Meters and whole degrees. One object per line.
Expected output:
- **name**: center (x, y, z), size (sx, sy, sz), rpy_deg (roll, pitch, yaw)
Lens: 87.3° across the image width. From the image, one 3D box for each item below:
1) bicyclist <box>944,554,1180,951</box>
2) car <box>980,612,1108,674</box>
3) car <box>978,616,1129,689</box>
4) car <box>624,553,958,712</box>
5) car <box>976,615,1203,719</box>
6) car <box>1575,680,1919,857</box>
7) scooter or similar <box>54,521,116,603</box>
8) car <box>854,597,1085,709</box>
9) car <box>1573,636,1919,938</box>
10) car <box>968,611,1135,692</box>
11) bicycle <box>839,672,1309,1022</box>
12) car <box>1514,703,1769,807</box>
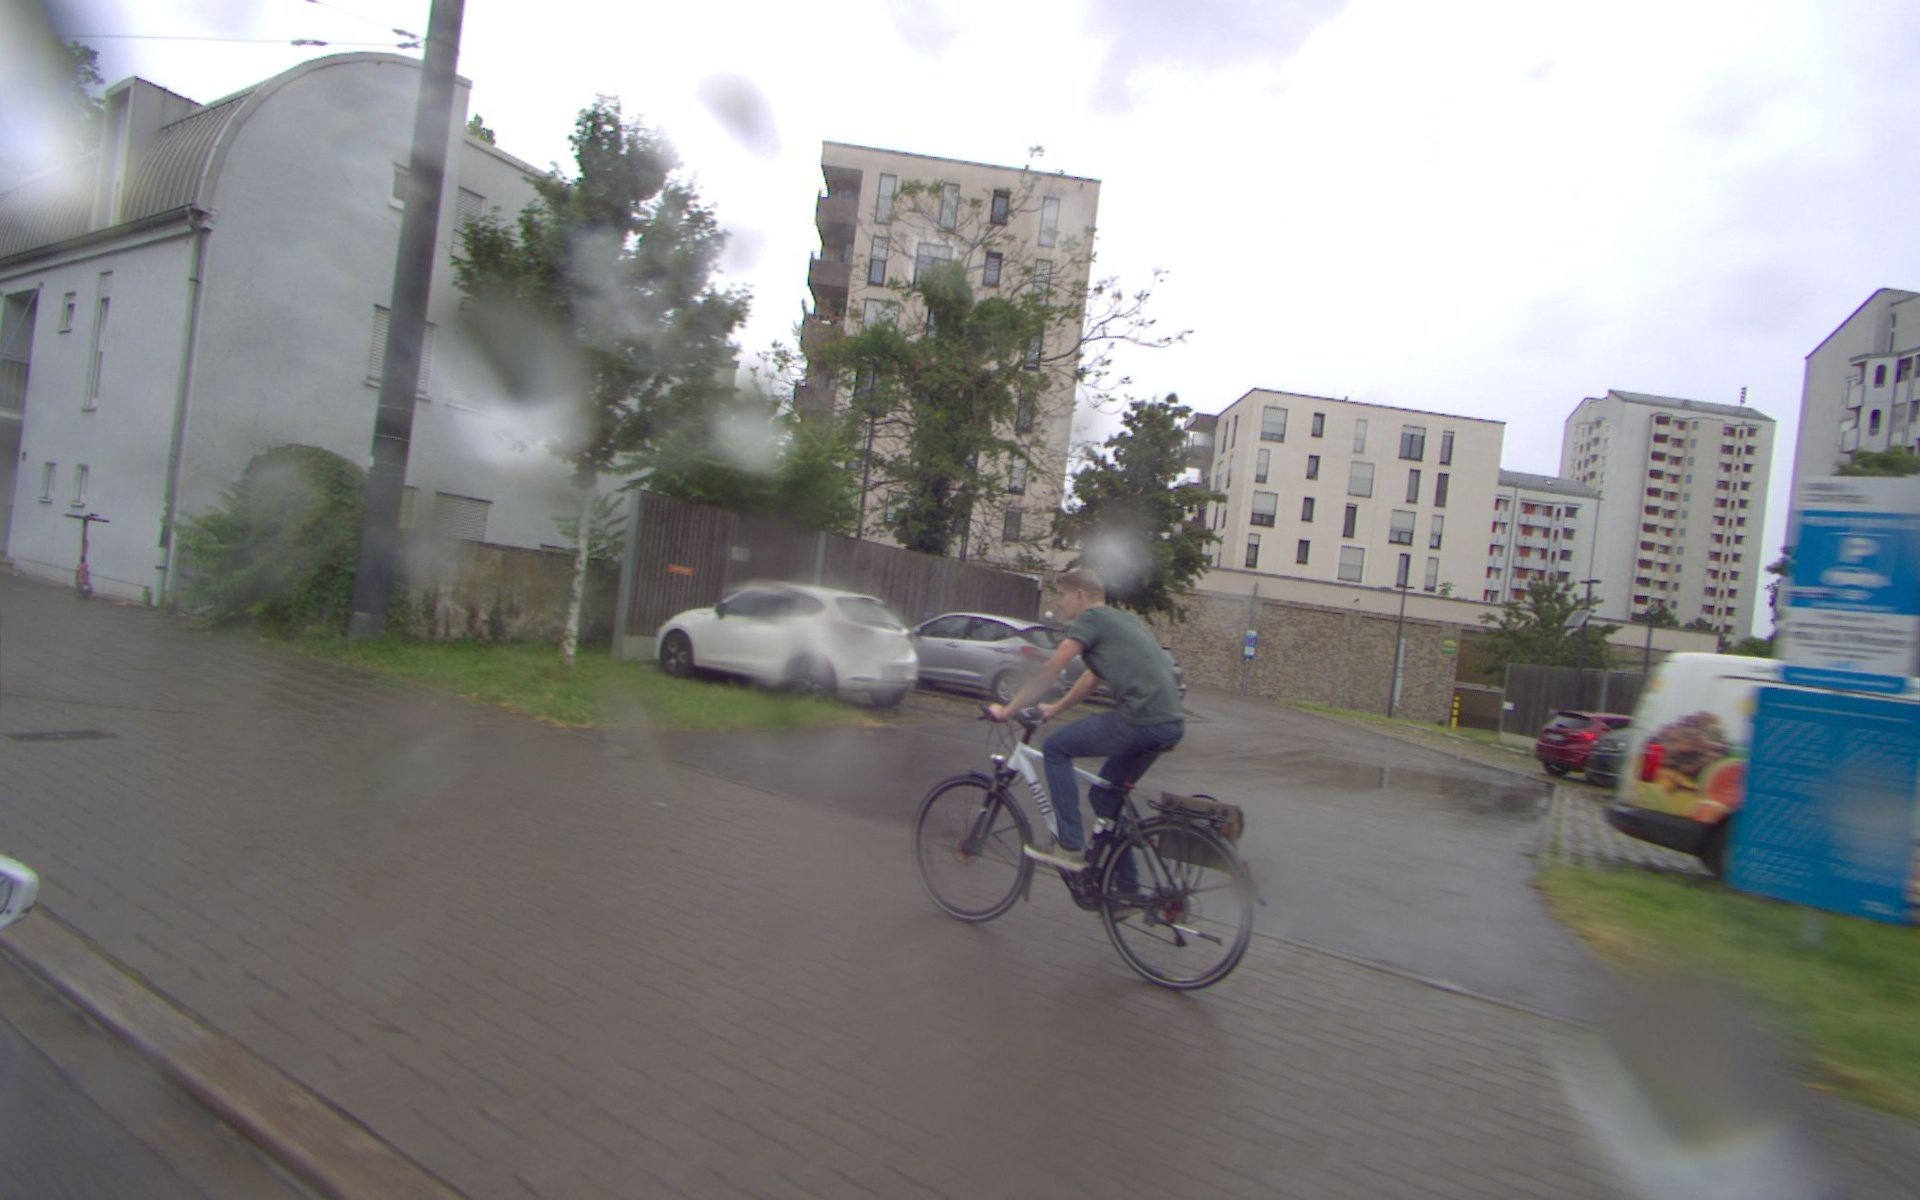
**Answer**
- **bicyclist**: center (0.472, 0.642, 4.535), size (0.758, 1.577, 0.536), rpy_deg (6, -1, 24)
- **car**: center (2.975, 1.548, 36.299), size (4.283, 1.552, 1.970), rpy_deg (8, -1, 0)
- **car**: center (2.840, 1.587, 30.743), size (4.281, 1.552, 1.972), rpy_deg (8, -1, 5)
- **car**: center (-2.420, 0.424, 14.048), size (4.293, 1.552, 1.966), rpy_deg (7, -2, 34)
- **car**: center (2.756, 1.428, 21.691), size (4.293, 1.552, 1.966), rpy_deg (7, -2, 34)
- **car**: center (12.744, 2.613, 16.110), size (4.702, 1.891, 1.966), rpy_deg (7, -1, 34)
- **scooter or similar**: center (-12.846, -0.570, 14.758), size (1.375, 1.097, 0.333), rpy_deg (5, -2, 38)
- **car**: center (0.183, 0.965, 18.467), size (3.599, 1.463, 1.969), rpy_deg (8, -1, 26)
- **car**: center (7.461, 1.531, 7.406), size (4.818, 1.805, 1.966), rpy_deg (7, -1, 34)
- **car**: center (2.526, 1.423, 27.872), size (4.281, 1.552, 1.972), rpy_deg (8, -1, 5)
- **bicycle**: center (0.473, 0.997, 4.503), size (1.914, 1.105, 0.538), rpy_deg (6, -2, 25)
- **car**: center (13.844, 3.124, 20.596), size (3.926, 1.458, 1.775), rpy_deg (7, -2, -1)
